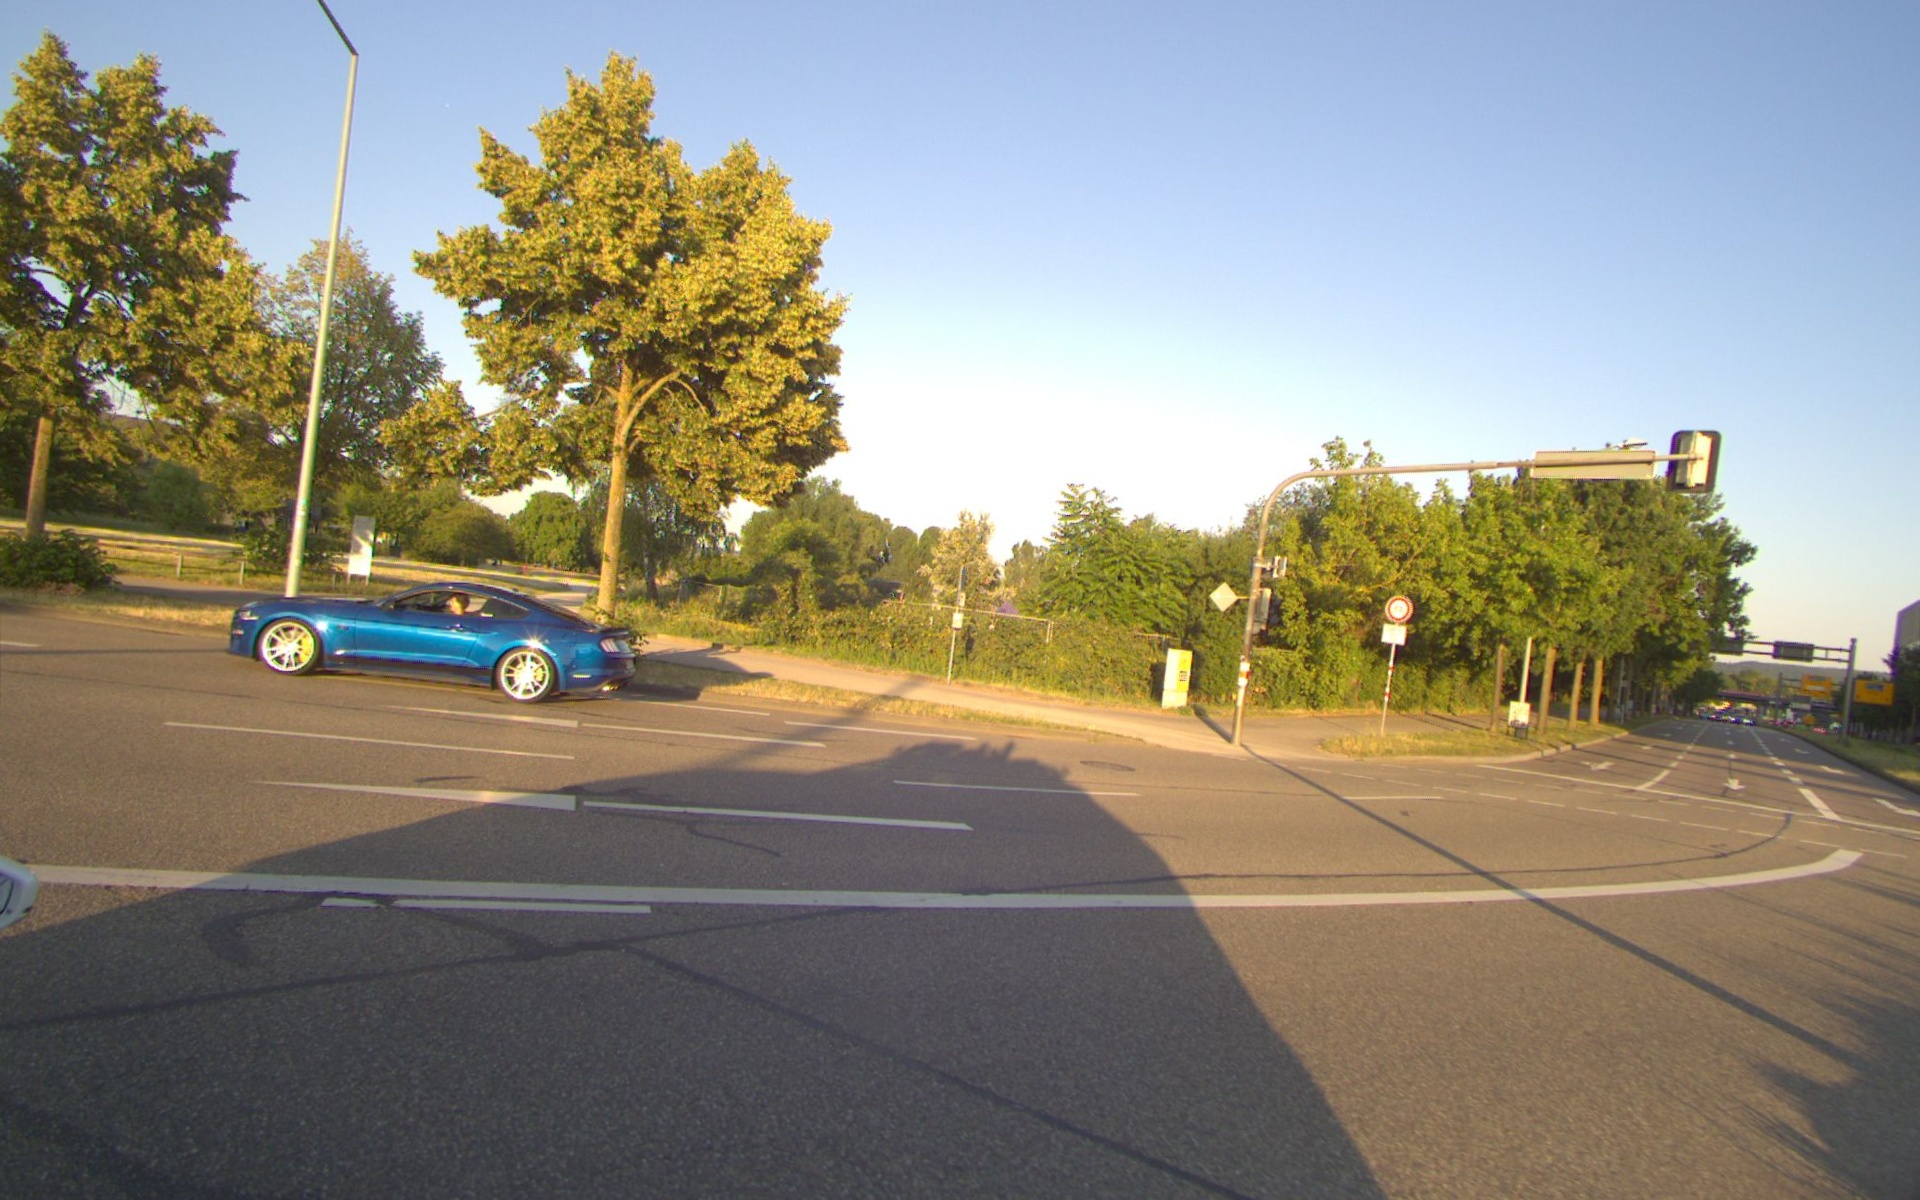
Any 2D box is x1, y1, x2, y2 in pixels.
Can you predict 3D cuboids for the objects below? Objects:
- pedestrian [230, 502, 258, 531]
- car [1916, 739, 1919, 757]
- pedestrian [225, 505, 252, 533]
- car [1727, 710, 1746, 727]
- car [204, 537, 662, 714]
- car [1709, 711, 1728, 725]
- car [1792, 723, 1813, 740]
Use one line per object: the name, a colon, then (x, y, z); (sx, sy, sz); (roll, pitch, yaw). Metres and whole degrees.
pedestrian: (-44.880, -5.241, 63.036); (0.896, 1.637, 1.069); (7, 0, 37)
car: (77.851, 11.954, 80.203); (1.725, 1.395, 4.113); (7, -1, 37)
pedestrian: (-45.974, -5.153, 64.126); (0.896, 1.637, 1.069); (7, 0, 37)
car: (110.581, 16.843, 143.238); (1.970, 2.037, 3.988); (6, -2, 38)
car: (-6.492, 0.337, 12.958); (4.689, 1.523, 1.998); (7, -1, -7)
car: (117.627, 18.290, 156.002); (1.969, 1.801, 3.992); (6, -2, 35)
car: (114.485, 17.835, 136.746); (1.972, 2.038, 3.983); (7, -1, 40)
